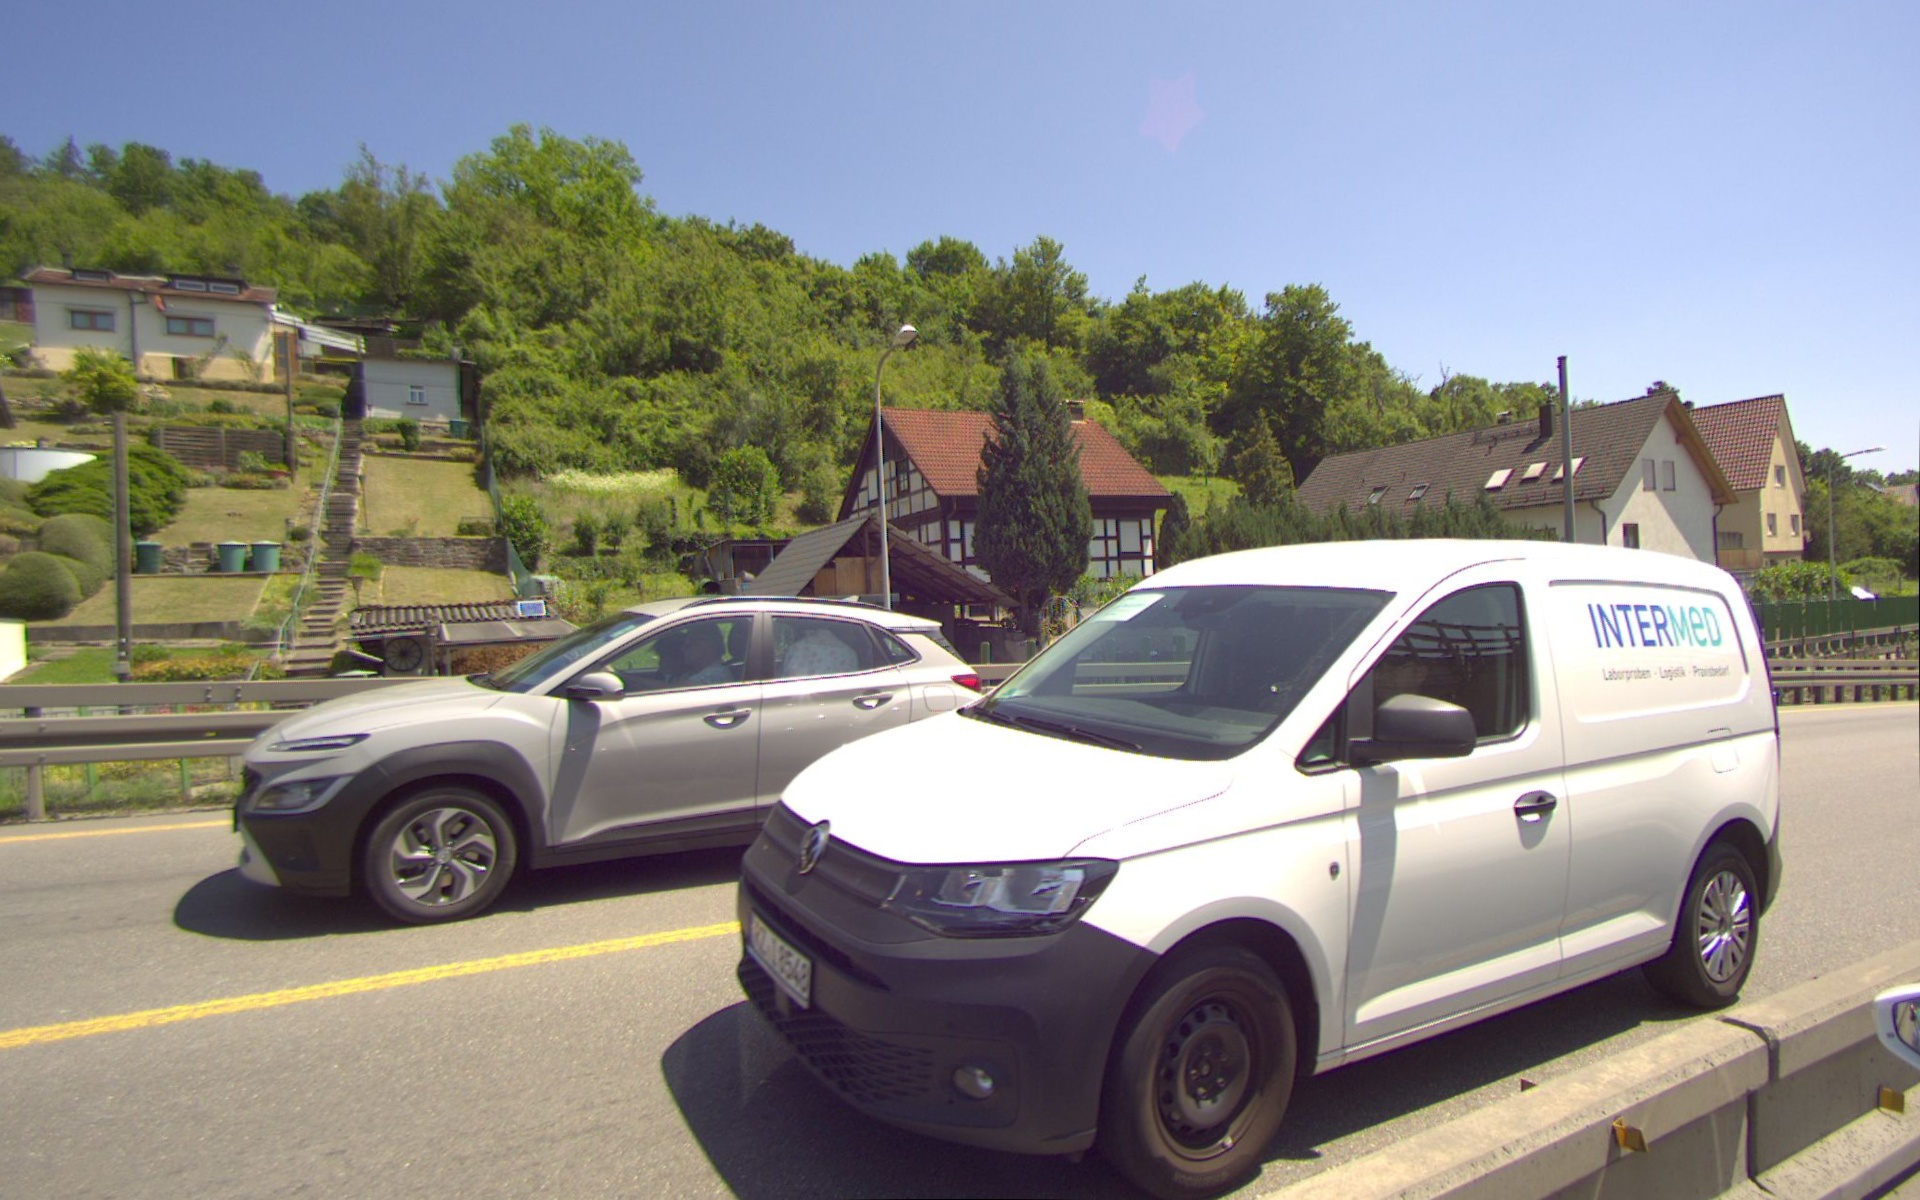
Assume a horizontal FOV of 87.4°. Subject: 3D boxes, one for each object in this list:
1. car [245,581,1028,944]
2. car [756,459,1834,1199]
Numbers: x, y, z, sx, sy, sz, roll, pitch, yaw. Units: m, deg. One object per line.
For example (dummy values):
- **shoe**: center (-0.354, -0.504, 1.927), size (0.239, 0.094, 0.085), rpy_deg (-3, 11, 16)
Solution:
- **car**: center (-1.691, 0.714, 5.908), size (3.929, 1.499, 1.693), rpy_deg (1, -1, -31)
- **car**: center (1.512, 0.629, 4.004), size (4.208, 1.764, 1.800), rpy_deg (1, -1, -31)
